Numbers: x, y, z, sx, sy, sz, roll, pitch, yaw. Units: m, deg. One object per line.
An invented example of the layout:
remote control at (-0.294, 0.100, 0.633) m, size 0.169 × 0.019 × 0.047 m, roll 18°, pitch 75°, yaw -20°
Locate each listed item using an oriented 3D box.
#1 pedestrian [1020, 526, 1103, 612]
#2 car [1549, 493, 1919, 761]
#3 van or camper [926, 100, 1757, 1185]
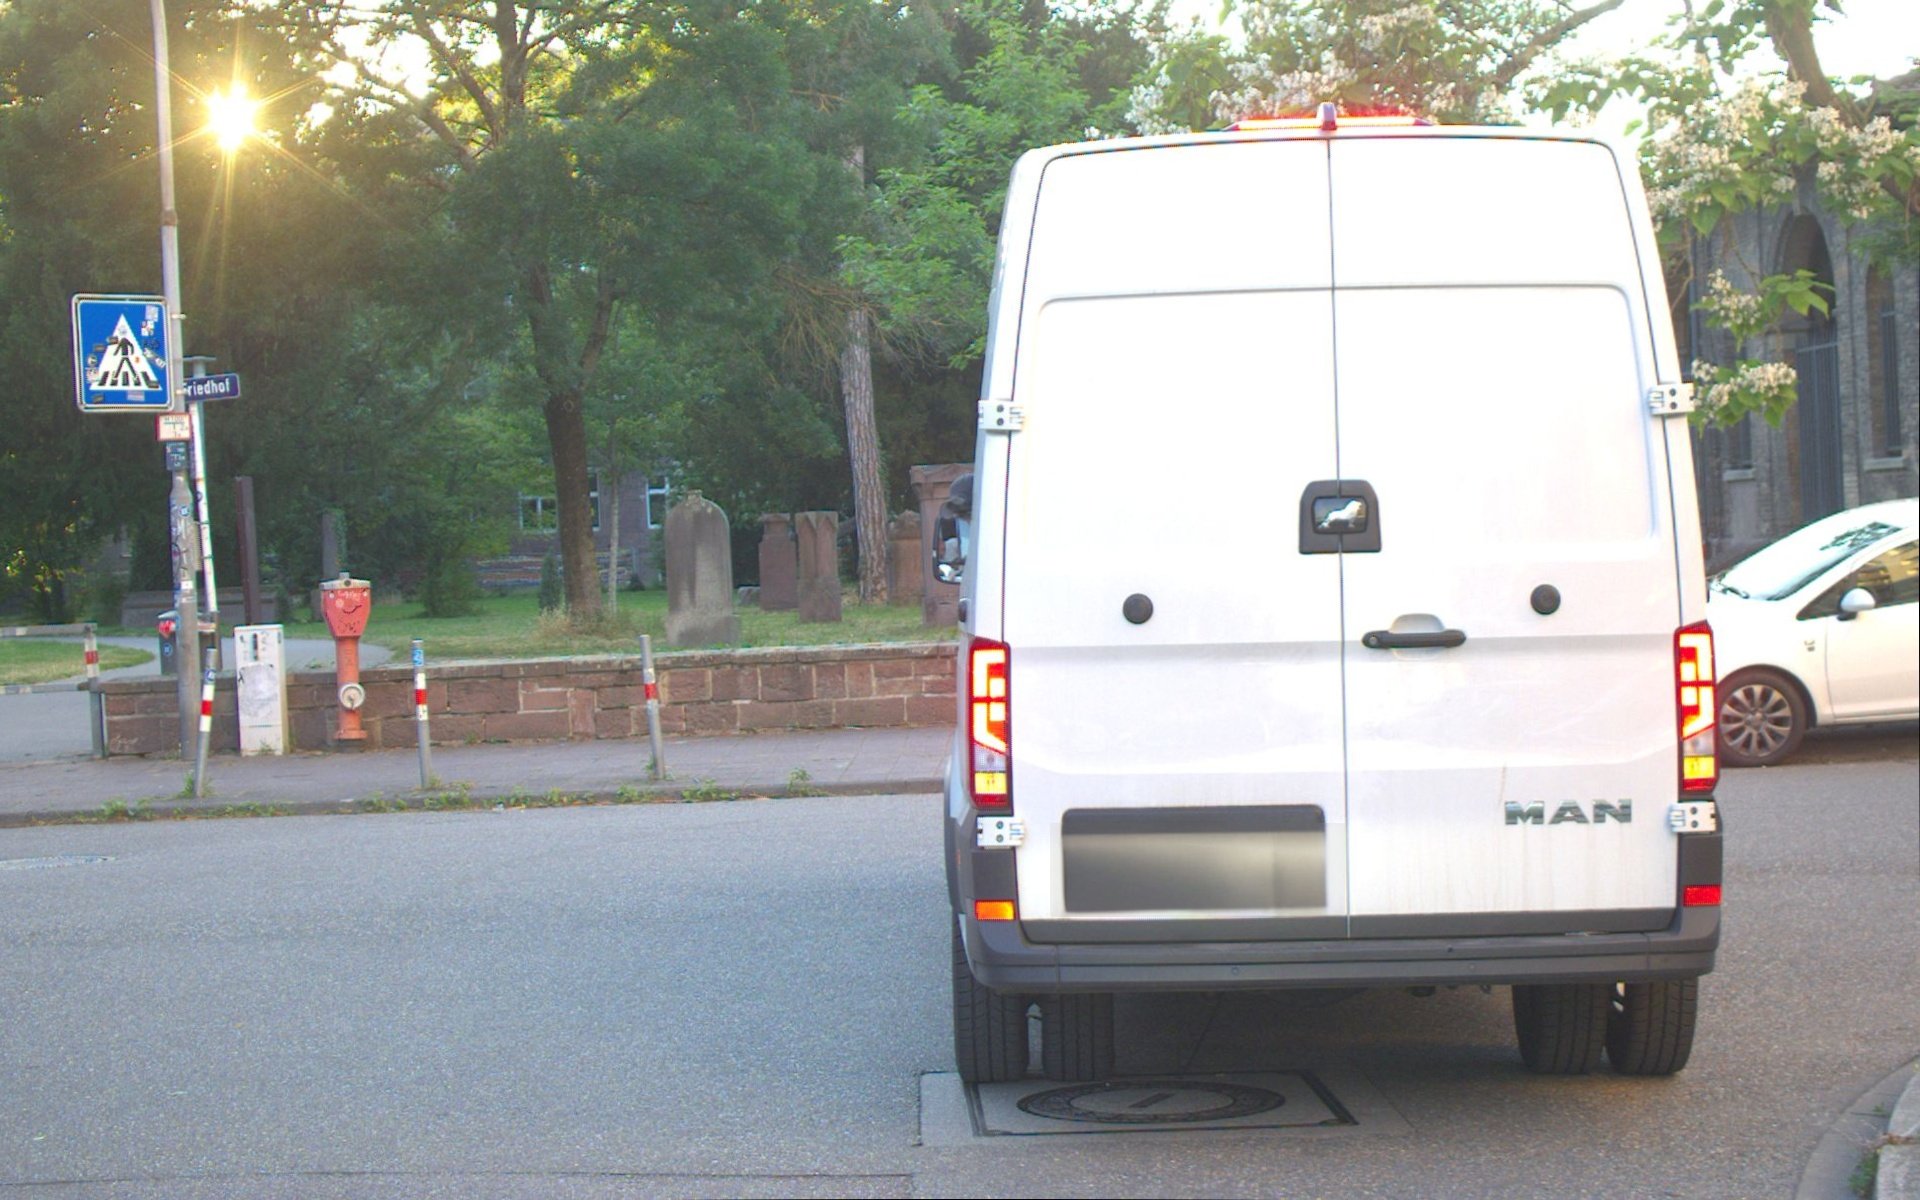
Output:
pedestrian at (1.760, -0.546, 59.767) m, size 1.328 × 1.439 × 1.046 m, roll -2°, pitch 1°, yaw -2°
car at (5.868, 0.115, 21.756) m, size 3.854 × 1.568 × 1.958 m, roll -2°, pitch 1°, yaw -3°
van or camper at (0.903, 0.063, 11.502) m, size 1.993 × 2.609 × 6.403 m, roll 0°, pitch 1°, yaw 0°
